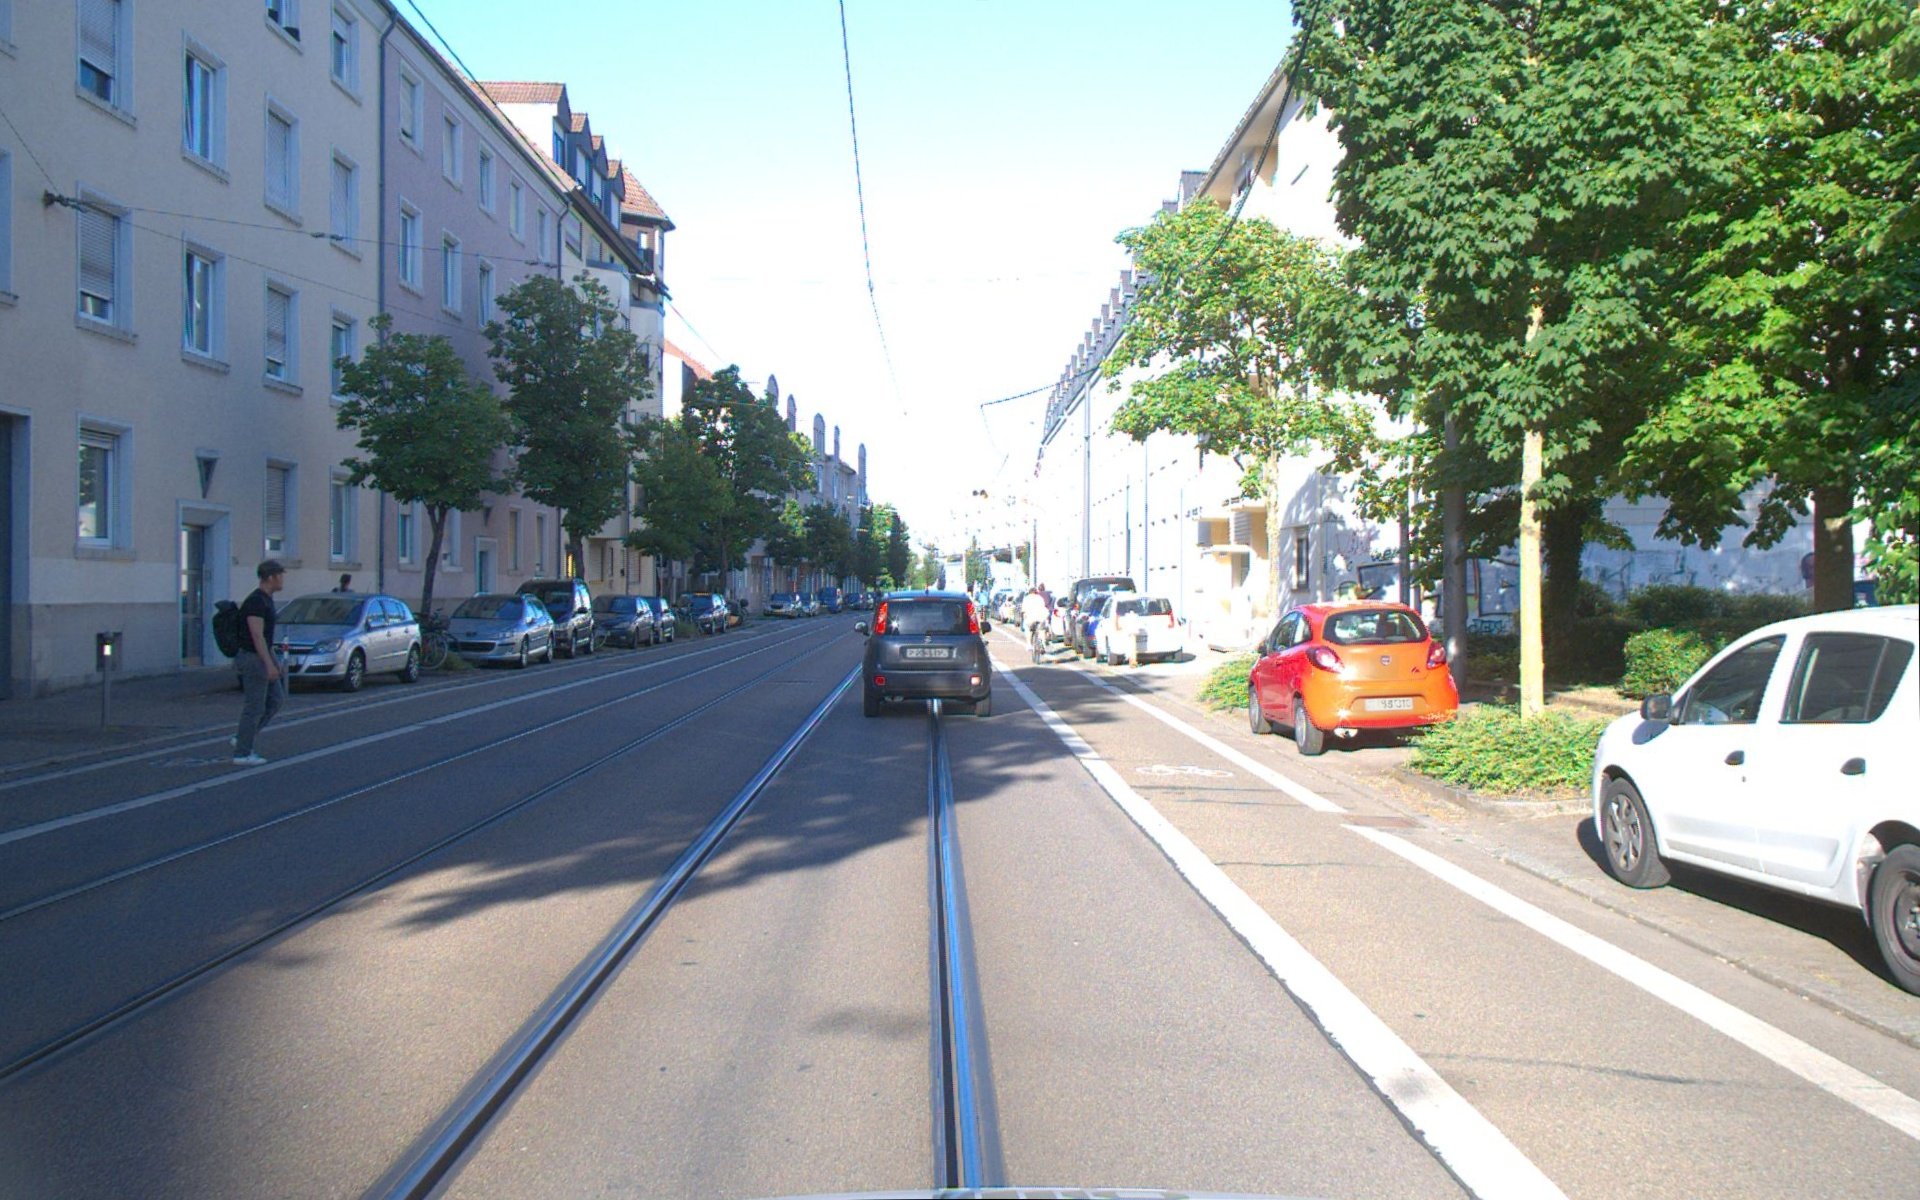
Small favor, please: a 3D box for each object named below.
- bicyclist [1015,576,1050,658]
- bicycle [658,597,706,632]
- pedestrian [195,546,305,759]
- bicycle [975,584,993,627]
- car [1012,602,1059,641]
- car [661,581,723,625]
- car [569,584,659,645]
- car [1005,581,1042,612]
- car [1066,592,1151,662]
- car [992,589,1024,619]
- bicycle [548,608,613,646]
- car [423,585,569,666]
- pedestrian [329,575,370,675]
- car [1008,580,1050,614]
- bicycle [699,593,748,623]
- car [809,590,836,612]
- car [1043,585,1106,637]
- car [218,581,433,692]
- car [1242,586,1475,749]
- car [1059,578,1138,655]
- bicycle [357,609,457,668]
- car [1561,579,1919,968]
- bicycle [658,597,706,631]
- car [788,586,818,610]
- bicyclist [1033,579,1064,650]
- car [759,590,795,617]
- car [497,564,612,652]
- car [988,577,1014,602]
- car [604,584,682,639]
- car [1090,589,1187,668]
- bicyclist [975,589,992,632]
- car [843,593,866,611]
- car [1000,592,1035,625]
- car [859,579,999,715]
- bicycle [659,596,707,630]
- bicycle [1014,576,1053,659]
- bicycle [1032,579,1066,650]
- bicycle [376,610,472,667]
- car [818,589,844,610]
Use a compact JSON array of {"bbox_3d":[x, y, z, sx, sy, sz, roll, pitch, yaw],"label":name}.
[{"bbox_3d":[1.609,0.376,36.914,0.685,1.790,0.757,2,0,-2],"label":"bicyclist"},{"bbox_3d":[-10.196,0.535,60.715,1.695,1.217,0.372,2,0,-5],"label":"bicycle"},{"bbox_3d":[-6.256,0.439,14.612,0.837,1.808,0.731,-1,1,-21],"label":"pedestrian"},{"bbox_3d":[1.167,0.258,80.704,0.727,2.049,2.811,2,0,-2],"label":"bicycle"},{"bbox_3d":[2.979,0.838,65.931,1.551,1.430,3.375,-3,0,-2],"label":"car"},{"bbox_3d":[-10.228,0.117,63.398,1.798,1.583,3.998,2,0,-2],"label":"car"},{"bbox_3d":[-9.960,0.405,47.844,1.772,1.648,4.063,2,0,-1],"label":"car"},{"bbox_3d":[3.074,-0.157,80.756,1.551,1.430,3.375,2,0,-2],"label":"car"},{"bbox_3d":[3.636,0.625,40.986,1.622,1.599,3.875,2,0,-2],"label":"car"},{"bbox_3d":[2.678,0.205,93.146,1.551,1.627,3.375,2,0,-2],"label":"car"},{"bbox_3d":[-10.112,0.718,44.099,1.600,0.953,0.516,2,0,-5],"label":"bicycle"},{"bbox_3d":[-9.621,0.490,34.663,1.772,1.534,4.679,2,0,-1],"label":"car"},{"bbox_3d":[-11.539,0.461,31.282,0.525,1.858,0.542,2,0,-2],"label":"pedestrian"},{"bbox_3d":[3.002,-0.135,72.638,1.551,1.430,3.375,2,0,-2],"label":"car"},{"bbox_3d":[-11.104,0.372,77.662,2.232,1.310,0.757,2,0,-6],"label":"bicycle"},{"bbox_3d":[-9.969,0.079,120.196,1.672,1.523,3.721,2,0,0],"label":"car"},{"bbox_3d":[3.524,0.327,51.277,1.622,1.526,3.129,2,0,-2],"label":"car"},{"bbox_3d":[-9.760,0.513,25.796,1.772,1.534,4.190,2,0,-1],"label":"car"},{"bbox_3d":[4.191,0.654,17.882,1.602,1.534,3.396,-2,0,-1],"label":"car"},{"bbox_3d":[3.810,0.424,46.110,1.622,1.978,4.663,2,0,-2],"label":"car"},{"bbox_3d":[-10.045,0.693,30.074,1.632,1.019,0.476,2,0,2],"label":"bicycle"},{"bbox_3d":[4.585,0.681,8.089,1.655,1.557,3.998,-1,0,-3],"label":"car"},{"bbox_3d":[-10.138,0.508,60.321,1.695,1.217,0.372,2,0,-5],"label":"bicycle"},{"bbox_3d":[-10.640,-0.139,112.499,1.672,1.523,3.721,2,0,0],"label":"car"},{"bbox_3d":[2.298,0.368,42.855,0.685,1.790,0.757,2,0,-2],"label":"bicyclist"},{"bbox_3d":[-10.817,0.196,97.963,1.672,1.523,3.721,2,0,0],"label":"car"},{"bbox_3d":[-9.860,0.175,40.496,1.772,1.977,4.332,2,0,-1],"label":"car"},{"bbox_3d":[2.766,-0.703,113.243,1.551,1.627,3.375,2,0,-2],"label":"car"},{"bbox_3d":[-10.142,0.362,53.137,1.772,1.648,4.063,2,0,-1],"label":"car"},{"bbox_3d":[3.870,0.595,36.308,1.622,1.599,3.498,2,0,-2],"label":"car"},{"bbox_3d":[1.148,0.518,80.906,0.700,2.049,0.831,2,0,-2],"label":"bicyclist"},{"bbox_3d":[-9.045,0.151,142.183,1.672,1.523,3.721,2,0,0],"label":"car"},{"bbox_3d":[2.944,0.436,85.402,1.551,1.627,3.375,2,0,-2],"label":"car"},{"bbox_3d":[-0.423,0.547,21.667,1.617,1.568,4.233,1,0,-2],"label":"car"},{"bbox_3d":[-10.246,0.475,61.128,1.695,1.217,0.372,2,0,-5],"label":"bicycle"},{"bbox_3d":[1.635,0.377,36.917,0.661,1.777,2.157,2,0,-2],"label":"bicycle"},{"bbox_3d":[2.303,0.363,42.900,0.661,1.777,2.157,2,0,-2],"label":"bicycle"},{"bbox_3d":[-10.101,0.727,31.200,1.637,1.019,0.475,2,0,-13],"label":"bicycle"},{"bbox_3d":[-9.829,-0.042,126.265,1.672,1.523,3.721,2,0,0],"label":"car"}]
